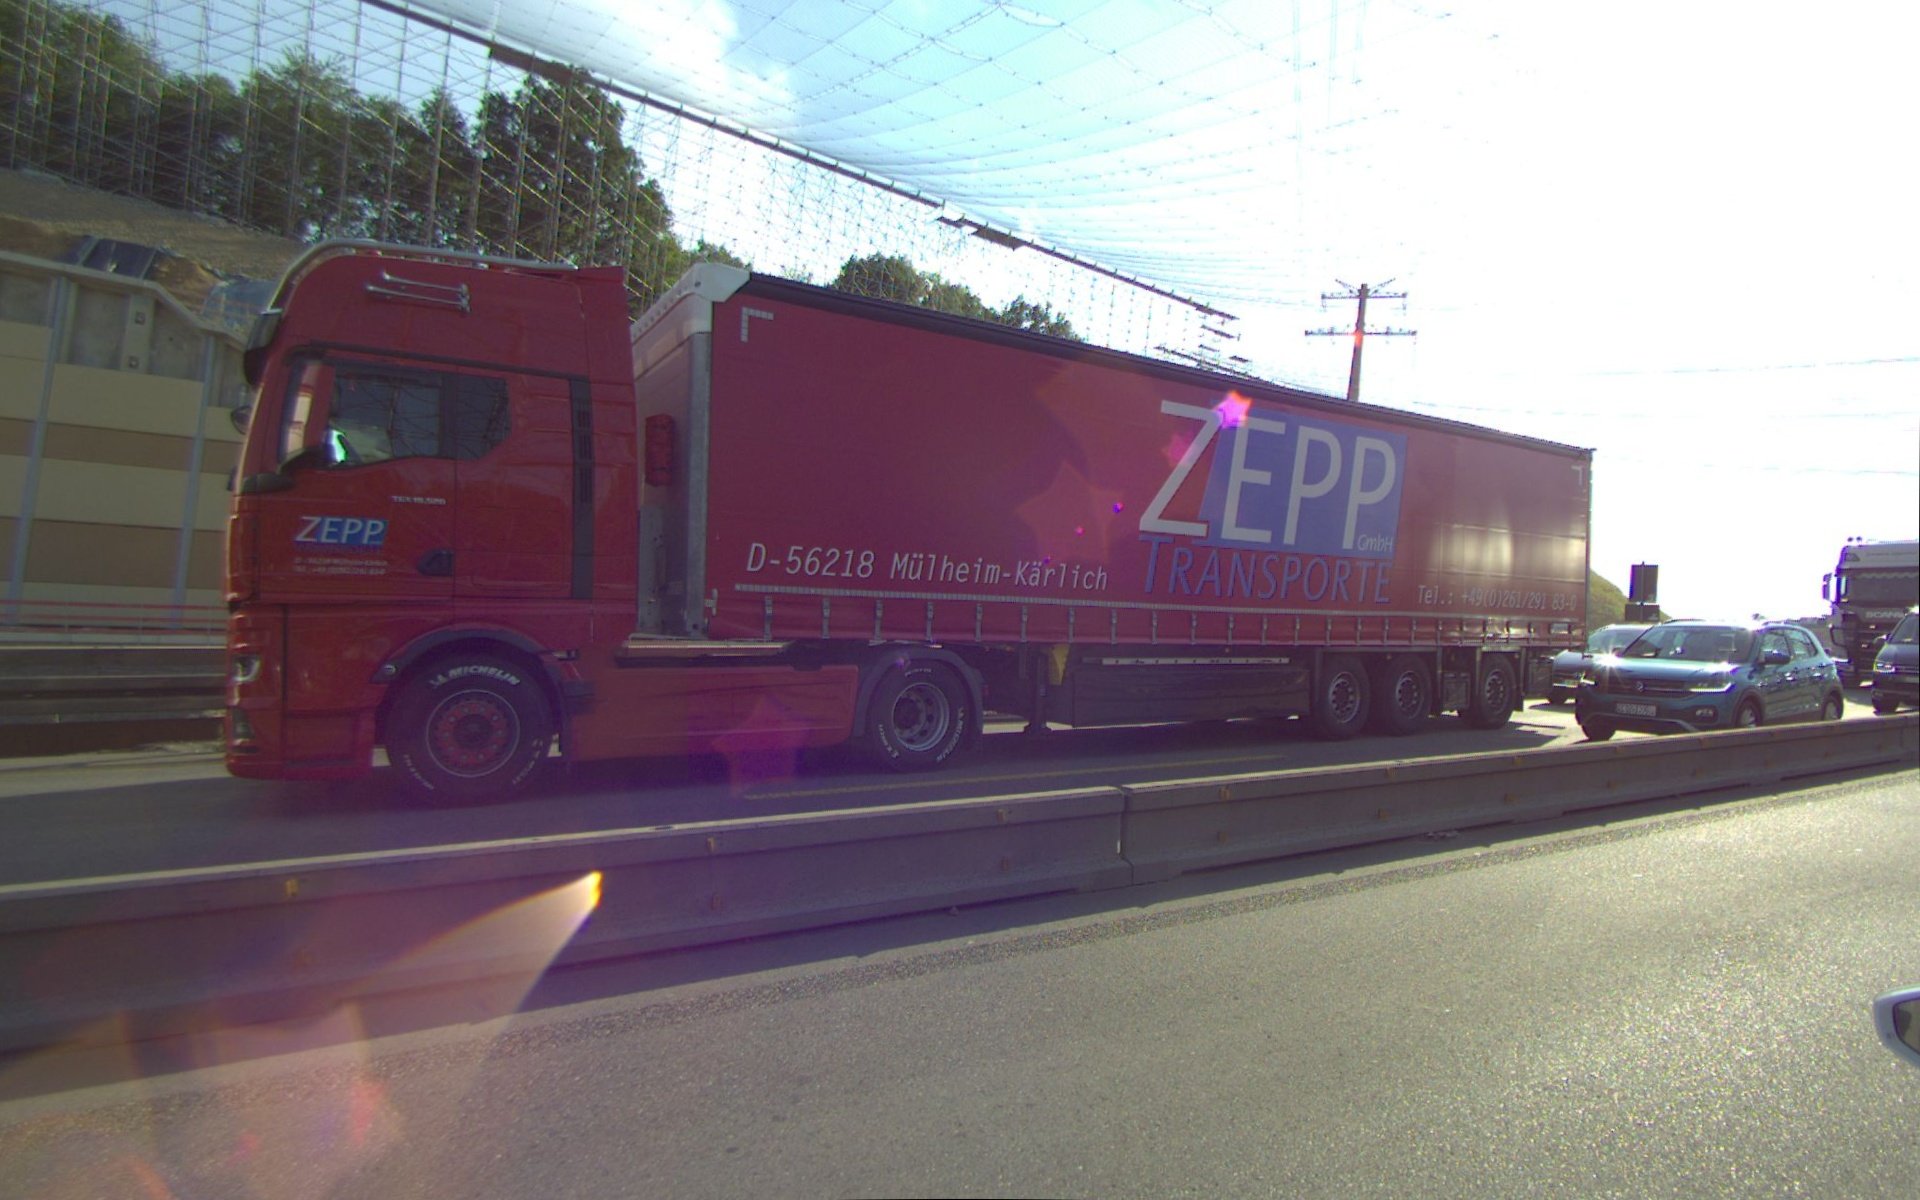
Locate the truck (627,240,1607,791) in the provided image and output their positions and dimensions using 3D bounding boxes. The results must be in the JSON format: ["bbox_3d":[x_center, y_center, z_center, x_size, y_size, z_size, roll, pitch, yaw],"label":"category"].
[{"bbox_3d":[3.203,-0.423,12.536,13.659,4.196,2.771,2,-1,-33],"label":"truck"}]

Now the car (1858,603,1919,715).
[{"bbox_3d":[19.002,1.111,18.935,4.809,1.961,1.864,2,0,-33],"label":"car"}]

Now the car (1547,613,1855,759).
[{"bbox_3d":[9.578,1.013,12.903,4.220,1.555,1.733,2,0,-32],"label":"car"}]

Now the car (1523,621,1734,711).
[{"bbox_3d":[12.540,1.179,18.789,4.092,1.467,1.712,2,0,-32],"label":"car"}]

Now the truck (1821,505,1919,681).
[{"bbox_3d":[25.593,-0.092,26.723,6.043,4.286,2.645,2,-1,-35],"label":"truck"}]

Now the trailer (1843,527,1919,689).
[{"bbox_3d":[30.977,0.353,30.656,13.777,4.290,2.636,2,1,-35],"label":"trailer"}]

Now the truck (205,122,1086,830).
[{"bbox_3d":[-2.355,-0.632,8.919,6.607,4.196,2.771,2,-1,-33],"label":"truck"}]
